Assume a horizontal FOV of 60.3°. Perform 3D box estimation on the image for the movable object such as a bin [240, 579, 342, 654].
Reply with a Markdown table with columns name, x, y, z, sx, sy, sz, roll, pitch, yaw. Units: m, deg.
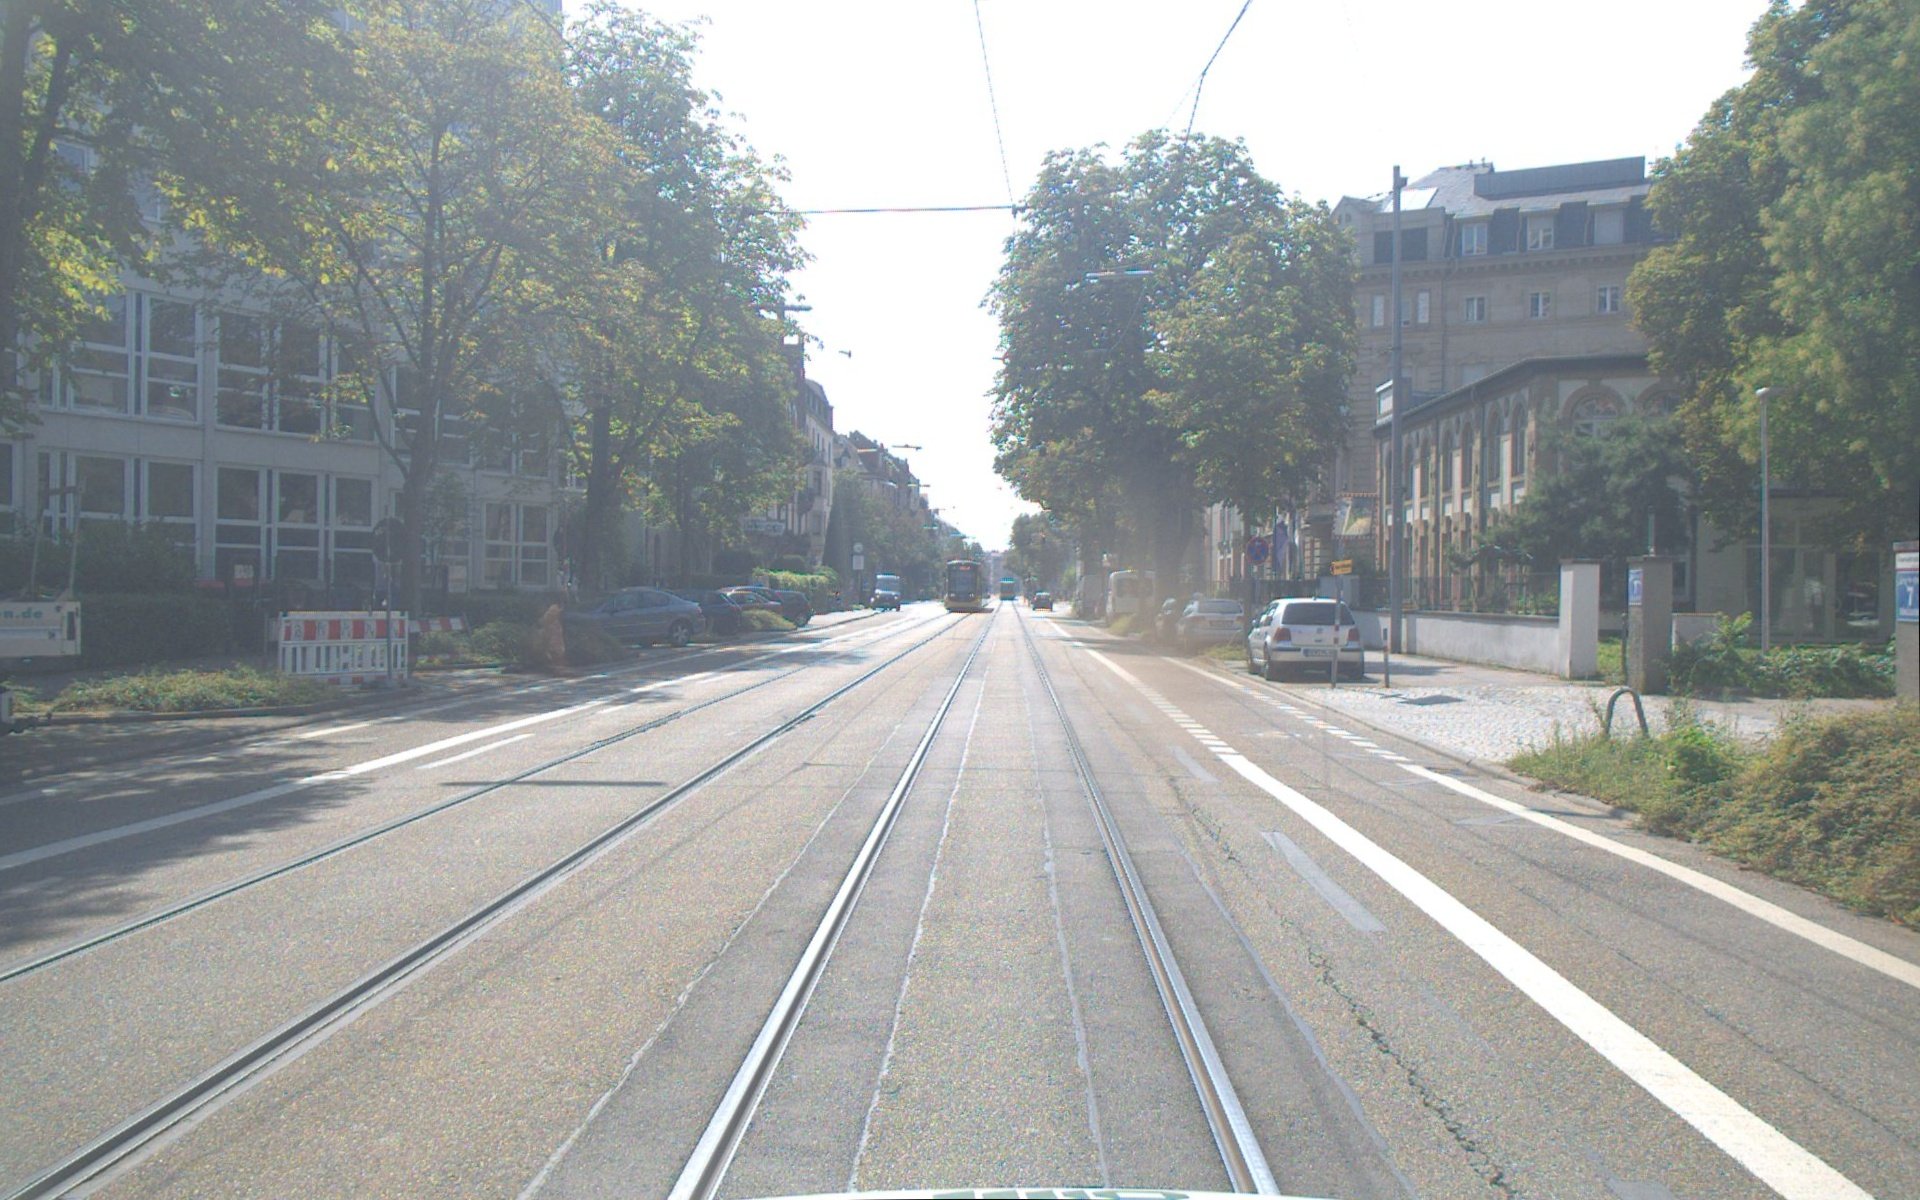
| name | x | y | z | sx | sy | sz | roll | pitch | yaw |
| --- | --- | --- | --- | --- | --- | --- | --- | --- | --- |
| movable object such as a bin | -14.535 | 0.347 | 35.969 | 1.648 | 1.586 | 1.354 | 0 | 0 | 0 |

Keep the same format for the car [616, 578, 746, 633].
| name | x | y | z | sx | sy | sz | roll | pitch | yaw |
| --- | --- | --- | --- | --- | --- | --- | --- | --- | --- |
| car | -8.425 | 0.183 | 50.108 | 3.553 | 1.602 | 1.652 | 1 | 0 | -40 |

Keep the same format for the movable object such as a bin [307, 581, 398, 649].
| name | x | y | z | sx | sy | sz | roll | pitch | yaw |
| --- | --- | --- | --- | --- | --- | --- | --- | --- | --- |
| movable object such as a bin | -14.364 | 0.342 | 39.170 | 1.648 | 1.586 | 1.354 | 0 | 0 | 0 |

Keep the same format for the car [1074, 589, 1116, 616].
| name | x | y | z | sx | sy | sz | roll | pitch | yaw |
| --- | --- | --- | --- | --- | --- | --- | --- | --- | --- |
| car | 7.436 | 0.116 | 91.427 | 1.953 | 1.422 | 3.999 | 1 | 0 | -1 |

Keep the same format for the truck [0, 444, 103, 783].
| name | x | y | z | sx | sy | sz | roll | pitch | yaw |
| --- | --- | --- | --- | --- | --- | --- | --- | --- | --- |
| truck | -9.441 | 0.092 | 11.541 | 5.907 | 2.477 | 2.122 | 0 | 0 | -38 |

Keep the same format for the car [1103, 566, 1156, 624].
| name | x | y | z | sx | sy | sz | roll | pitch | yaw |
| --- | --- | --- | --- | --- | --- | --- | --- | --- | --- |
| car | 7.285 | -0.215 | 71.391 | 1.952 | 2.407 | 4.001 | 1 | 0 | 2 |

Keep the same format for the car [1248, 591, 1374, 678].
| name | x | y | z | sx | sy | sz | roll | pitch | yaw |
| --- | --- | --- | --- | --- | --- | --- | --- | --- | --- |
| car | 6.336 | 0.589 | 30.209 | 1.753 | 1.471 | 3.735 | -1 | 0 | 4 |

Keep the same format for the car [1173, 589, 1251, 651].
| name | x | y | z | sx | sy | sz | roll | pitch | yaw |
| --- | --- | --- | --- | --- | --- | --- | --- | --- | --- |
| car | 6.603 | 0.503 | 43.691 | 1.607 | 1.538 | 3.642 | 1 | 0 | 2 |

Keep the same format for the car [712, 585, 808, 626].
| name | x | y | z | sx | sy | sz | roll | pitch | yaw |
| --- | --- | --- | --- | --- | --- | --- | --- | --- | --- |
| car | -8.067 | 0.222 | 66.901 | 3.553 | 1.602 | 1.652 | 1 | 0 | -40 |

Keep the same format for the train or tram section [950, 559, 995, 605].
| name | x | y | z | sx | sy | sz | roll | pitch | yaw |
| --- | --- | --- | --- | --- | --- | --- | --- | --- | --- |
| train or tram section | 1.153 | -1.568 | 143.179 | 3.424 | 3.769 | 12.417 | 1 | 1 | 3 |

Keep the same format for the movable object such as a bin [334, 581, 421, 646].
| name | x | y | z | sx | sy | sz | roll | pitch | yaw |
| --- | --- | --- | --- | --- | --- | --- | --- | --- | --- |
| movable object such as a bin | -14.301 | 0.321 | 40.646 | 1.648 | 1.586 | 1.354 | 0 | 0 | 0 |

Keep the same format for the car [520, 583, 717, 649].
| name | x | y | z | sx | sy | sz | roll | pitch | yaw |
| --- | --- | --- | --- | --- | --- | --- | --- | --- | --- |
| car | -8.347 | 0.351 | 40.772 | 1.649 | 1.477 | 4.655 | 1 | 2 | 45 |

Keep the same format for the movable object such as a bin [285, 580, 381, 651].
| name | x | y | z | sx | sy | sz | roll | pitch | yaw |
| --- | --- | --- | --- | --- | --- | --- | --- | --- | --- |
| movable object such as a bin | -14.233 | 0.345 | 37.610 | 1.648 | 1.586 | 1.354 | 0 | 0 | 0 |

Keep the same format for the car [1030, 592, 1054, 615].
| name | x | y | z | sx | sy | sz | roll | pitch | yaw |
| --- | --- | --- | --- | --- | --- | --- | --- | --- | --- |
| car | 6.849 | 0.283 | 138.257 | 1.952 | 1.832 | 4.001 | 1 | 0 | 2 |

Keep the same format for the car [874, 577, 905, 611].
| name | x | y | z | sx | sy | sz | roll | pitch | yaw |
| --- | --- | --- | --- | --- | --- | --- | --- | --- | --- |
| car | -5.191 | -0.444 | 121.655 | 2.197 | 2.484 | 3.999 | 1 | 0 | -2 |

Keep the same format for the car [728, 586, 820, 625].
| name | x | y | z | sx | sy | sz | roll | pitch | yaw |
| --- | --- | --- | --- | --- | --- | --- | --- | --- | --- |
| car | -7.836 | 0.227 | 69.845 | 3.553 | 1.602 | 1.652 | 1 | 0 | -40 |

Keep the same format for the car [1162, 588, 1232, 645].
| name | x | y | z | sx | sy | sz | roll | pitch | yaw |
| --- | --- | --- | --- | --- | --- | --- | --- | --- | --- |
| car | 7.079 | 0.464 | 49.668 | 1.756 | 1.604 | 4.002 | 1 | 0 | 3 |

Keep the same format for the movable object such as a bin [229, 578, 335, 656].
| name | x | y | z | sx | sy | sz | roll | pitch | yaw |
| --- | --- | --- | --- | --- | --- | --- | --- | --- | --- |
| movable object such as a bin | -14.133 | 0.341 | 34.524 | 1.648 | 1.586 | 1.354 | 0 | 0 | 0 |

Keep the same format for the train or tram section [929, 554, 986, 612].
| name | x | y | z | sx | sy | sz | roll | pitch | yaw |
| --- | --- | --- | --- | --- | --- | --- | --- | --- | --- |
| train or tram section | -0.069 | -1.215 | 116.487 | 3.424 | 3.769 | 12.417 | 1 | 1 | 3 |

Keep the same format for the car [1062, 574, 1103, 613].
| name | x | y | z | sx | sy | sz | roll | pitch | yaw |
| --- | --- | --- | --- | --- | --- | --- | --- | --- | --- |
| car | 7.299 | -0.395 | 98.793 | 1.954 | 2.272 | 3.998 | 0 | 0 | -3 |
